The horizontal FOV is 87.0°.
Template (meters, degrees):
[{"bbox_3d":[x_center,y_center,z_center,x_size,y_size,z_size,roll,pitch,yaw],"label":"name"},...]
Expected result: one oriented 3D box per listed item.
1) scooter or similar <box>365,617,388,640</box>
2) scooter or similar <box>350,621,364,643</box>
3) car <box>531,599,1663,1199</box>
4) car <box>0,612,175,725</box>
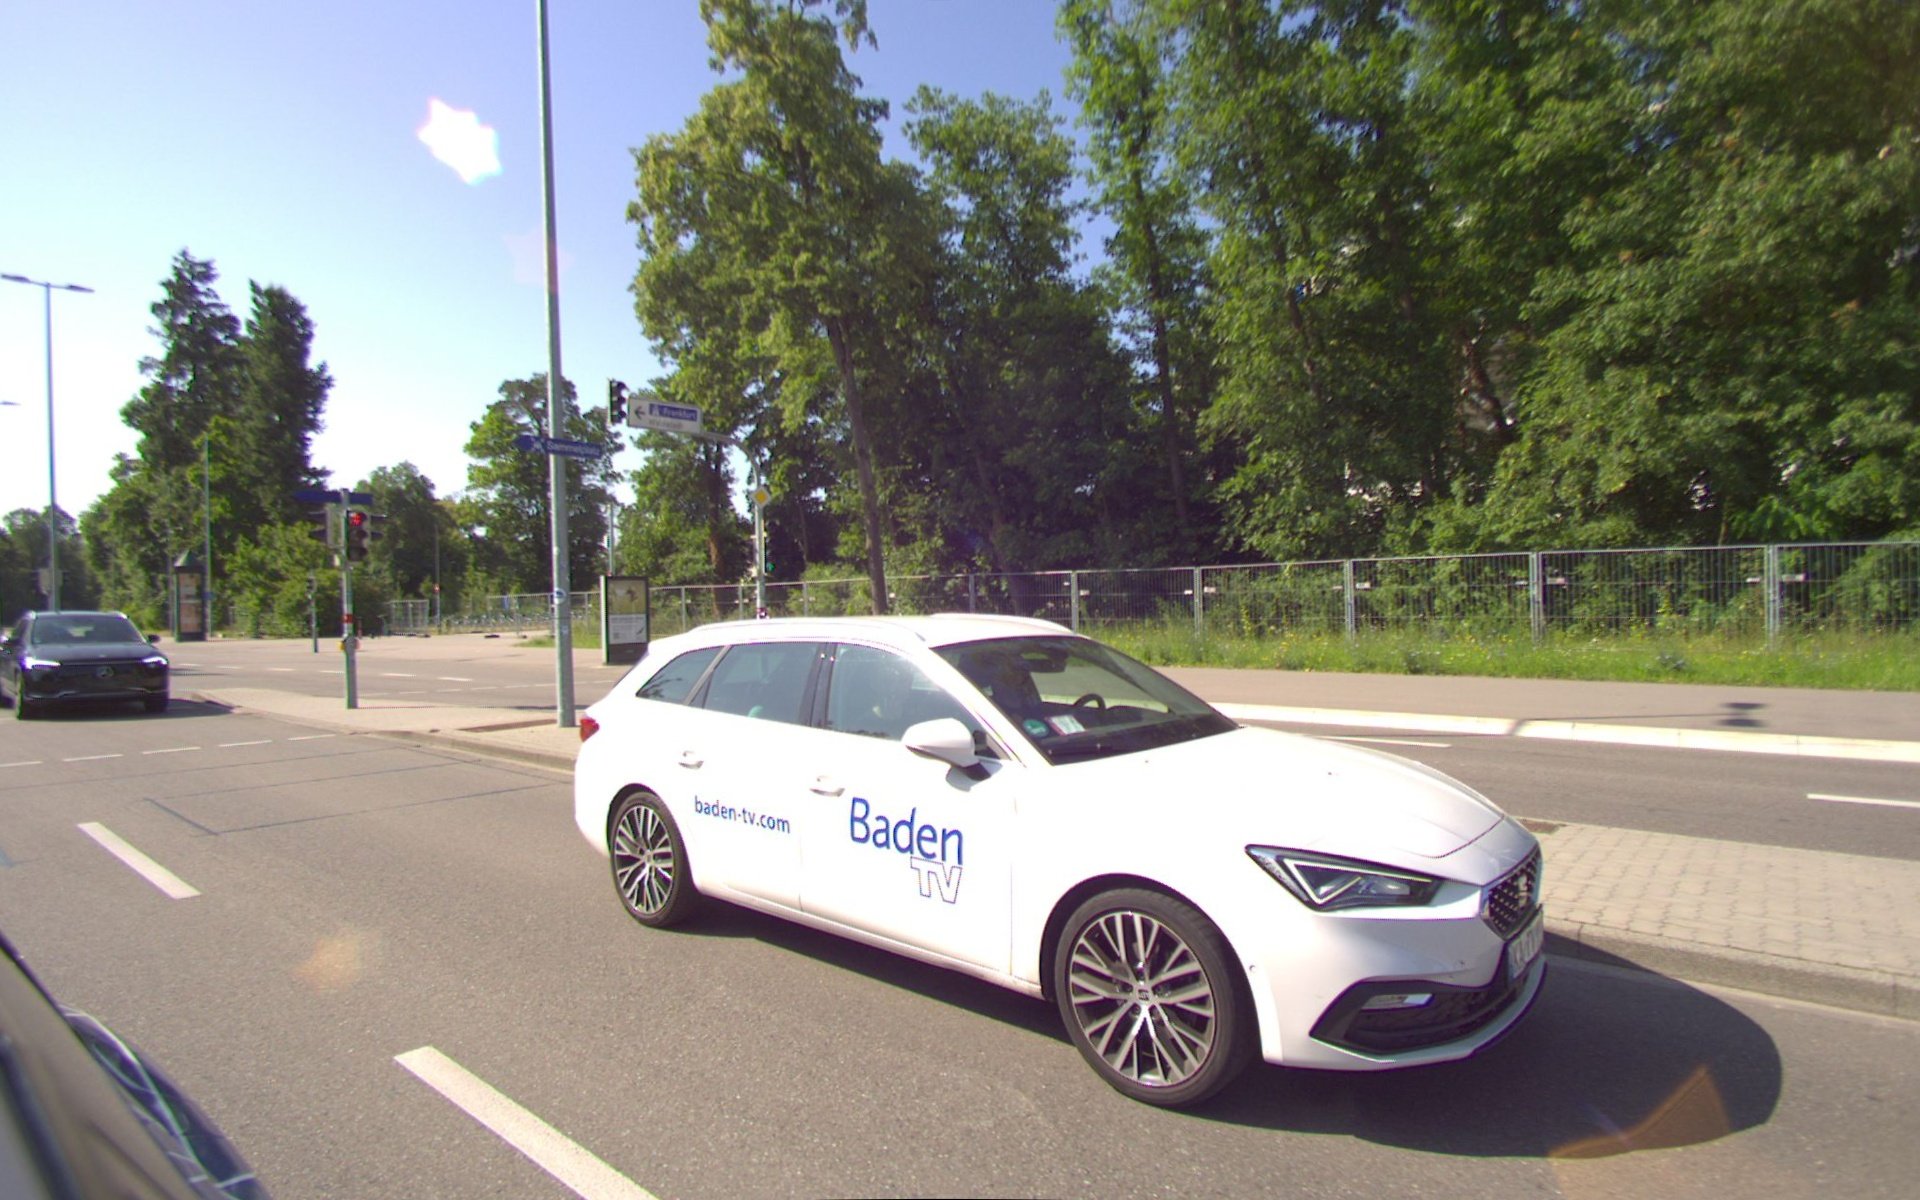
[{"bbox_3d":[-31.938,1.575,55.399,0.393,1.231,1.075,-1,0,17],"label":"scooter or similar"},{"bbox_3d":[-32.517,1.717,54.610,0.390,1.154,1.198,-1,0,-43],"label":"scooter or similar"},{"bbox_3d":[0.084,0.769,4.396,4.717,1.437,1.707,-1,-1,41],"label":"car"},{"bbox_3d":[-14.387,1.004,16.401,4.270,1.608,1.786,-1,-1,40],"label":"car"}]
